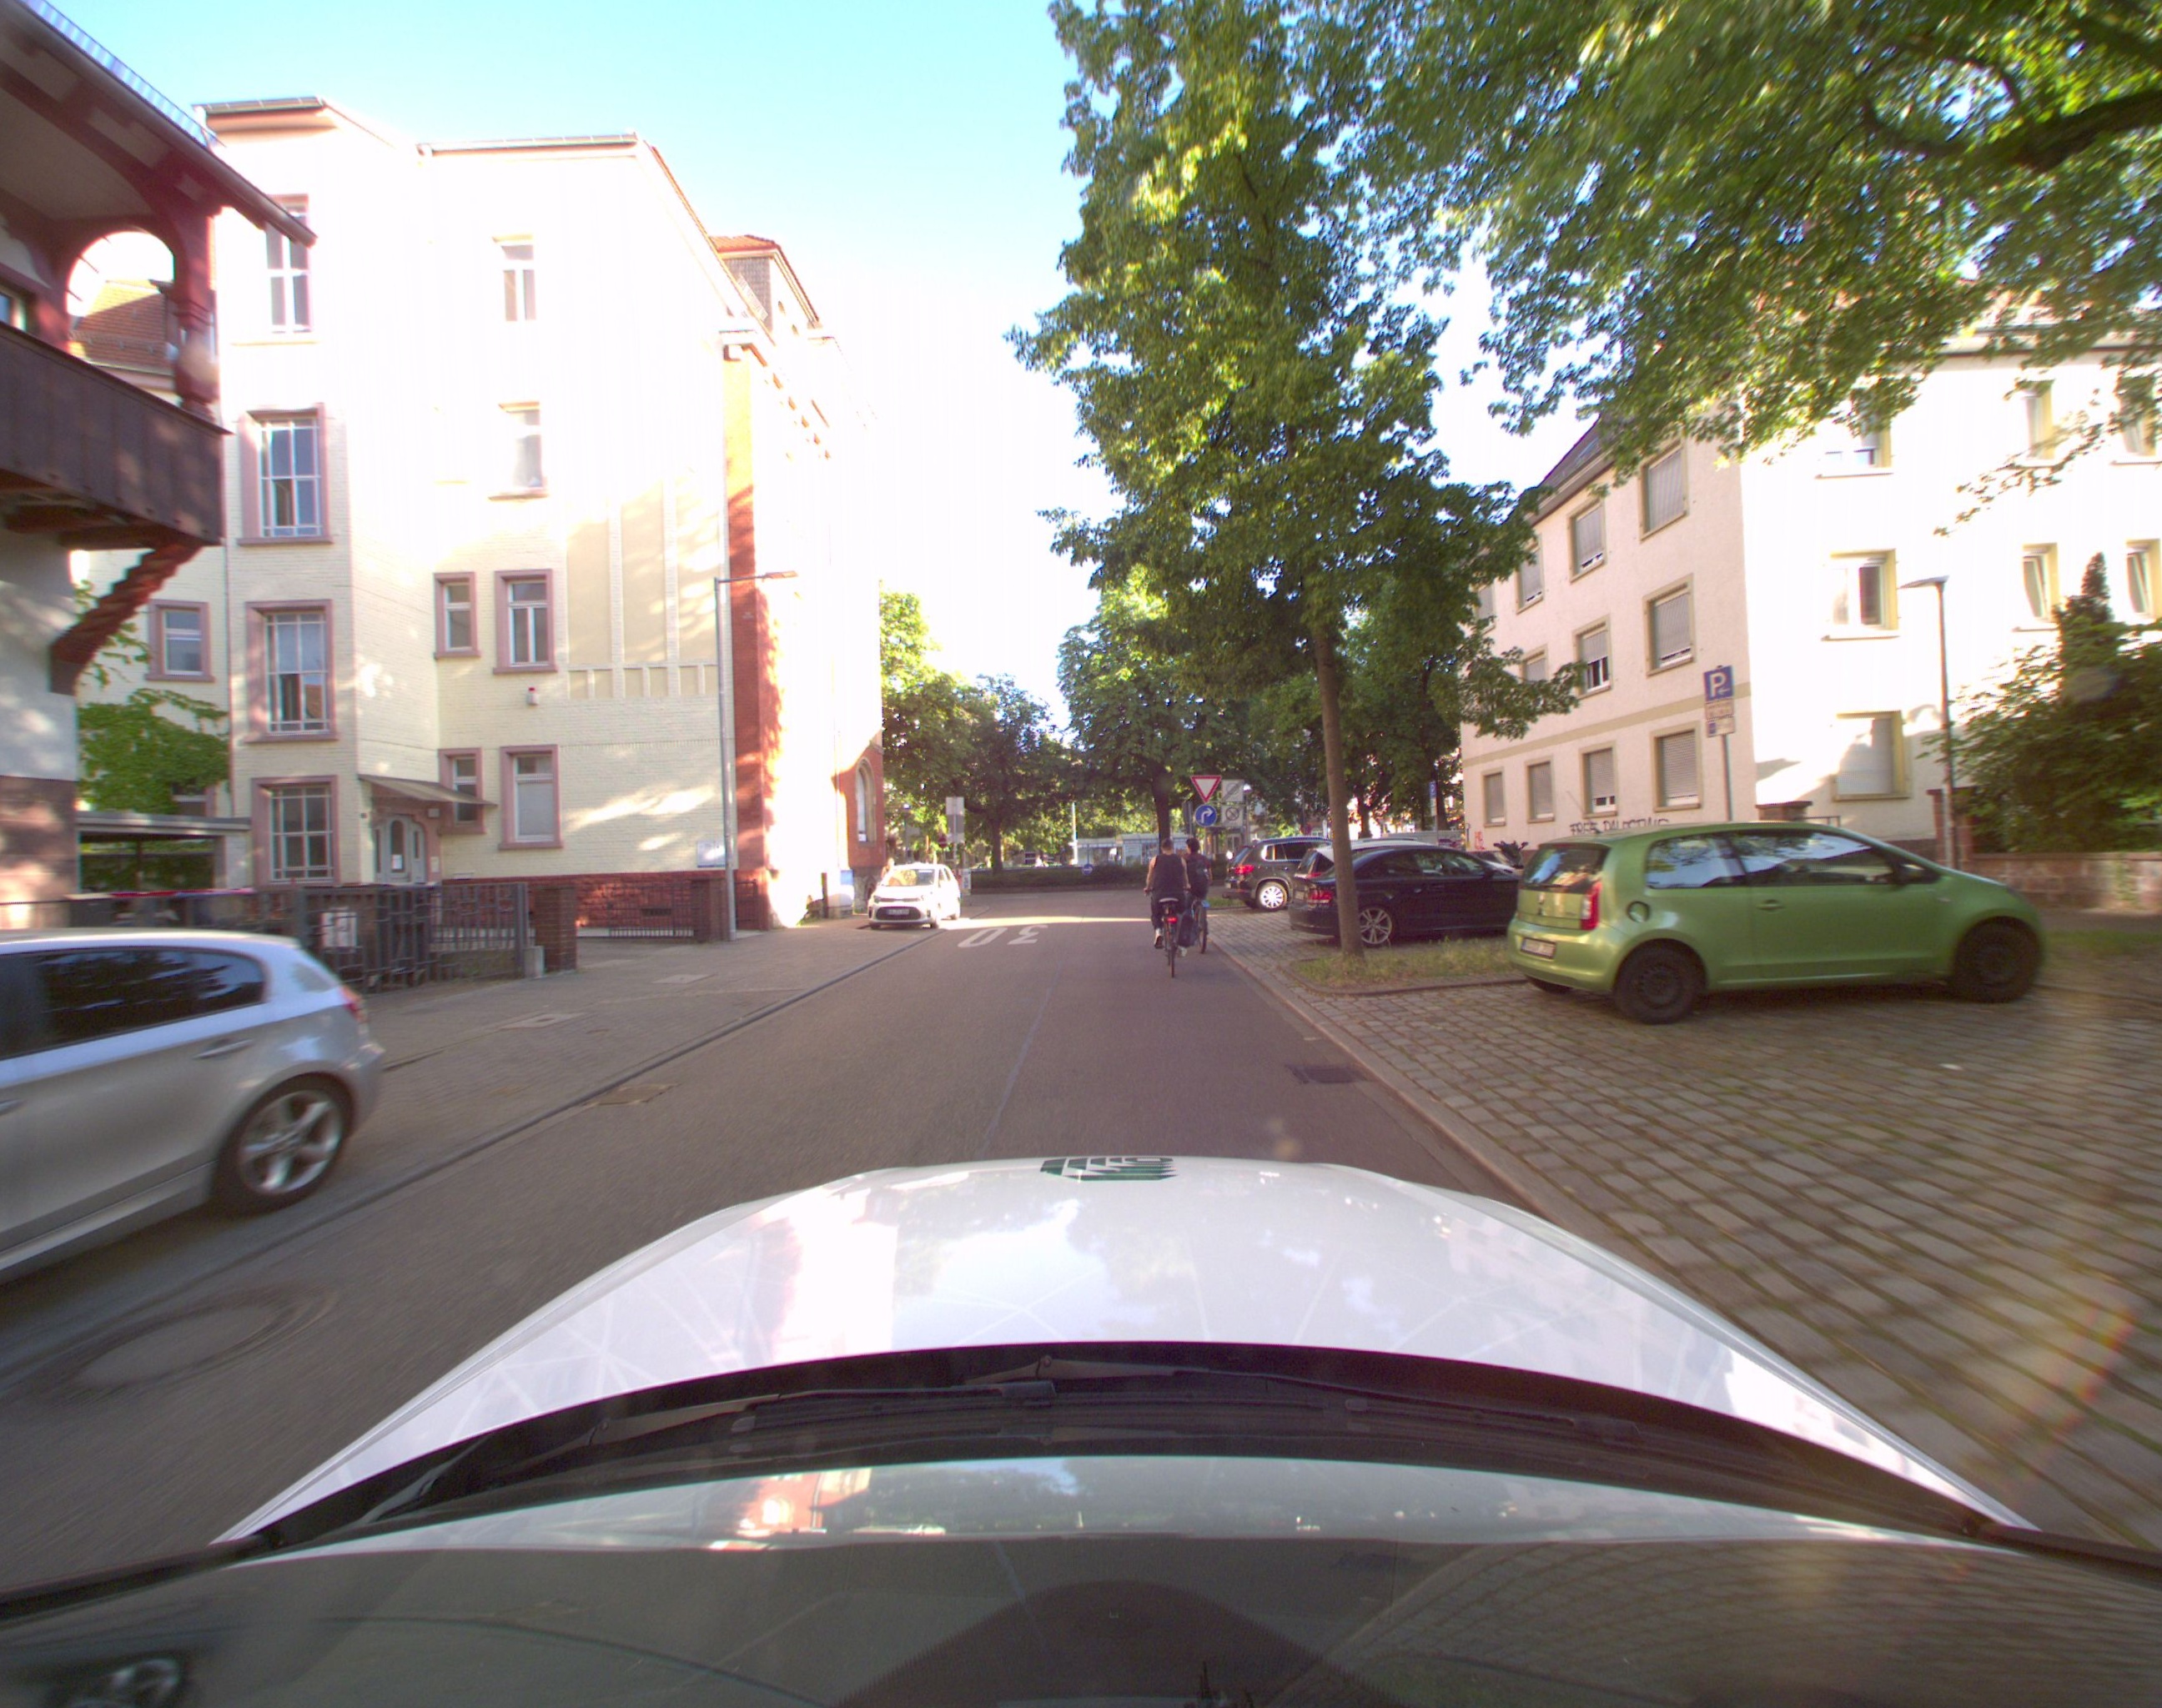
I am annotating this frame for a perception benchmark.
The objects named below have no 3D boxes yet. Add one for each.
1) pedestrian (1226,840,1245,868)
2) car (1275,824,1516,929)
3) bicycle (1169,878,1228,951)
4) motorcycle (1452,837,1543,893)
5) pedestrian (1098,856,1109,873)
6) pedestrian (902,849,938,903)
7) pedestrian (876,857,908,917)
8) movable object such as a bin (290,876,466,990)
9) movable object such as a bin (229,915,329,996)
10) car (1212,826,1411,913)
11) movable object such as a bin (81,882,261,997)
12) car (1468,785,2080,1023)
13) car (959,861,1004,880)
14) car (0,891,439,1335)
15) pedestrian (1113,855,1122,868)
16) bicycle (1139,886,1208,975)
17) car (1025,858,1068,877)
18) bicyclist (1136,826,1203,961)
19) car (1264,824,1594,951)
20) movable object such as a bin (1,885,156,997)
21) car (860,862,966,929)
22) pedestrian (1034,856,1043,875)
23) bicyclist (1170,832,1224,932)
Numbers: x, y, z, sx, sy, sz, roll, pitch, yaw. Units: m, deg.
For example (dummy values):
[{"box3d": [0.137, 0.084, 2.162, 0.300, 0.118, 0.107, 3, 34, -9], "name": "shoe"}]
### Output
[{"box3d": [9.843, -0.004, 51.839, 0.887, 1.684, 0.825, -3, -1, 35], "name": "pedestrian"}, {"box3d": [5.529, 0.393, 14.701, 3.675, 1.651, 1.706, -2, 0, 5], "name": "car"}, {"box3d": [1.872, 0.935, 13.213, 0.671, 1.054, 2.061, -2, -2, 1], "name": "bicycle"}, {"box3d": [10.478, 0.269, 20.609, 0.974, 1.280, 2.177, -3, 0, -7], "name": "motorcycle"}, {"box3d": [2.113, 0.977, 76.419, 0.809, 1.543, 0.818, 0, -1, -10], "name": "pedestrian"}, {"box3d": [-5.065, 0.696, 25.685, 0.864, 1.643, 0.861, -2, -1, 1], "name": "pedestrian"}, {"box3d": [-5.242, 0.895, 22.584, 0.597, 1.605, 0.855, -2, -1, 1], "name": "pedestrian"}, {"box3d": [-8.630, 0.950, 10.038, 1.367, 1.299, 0.971, -2, 0, 11], "name": "movable object such as a bin"}, {"box3d": [-9.476, 1.186, 9.642, 0.477, 0.879, 0.675, -2, 0, 11], "name": "movable object such as a bin"}, {"box3d": [5.390, 0.340, 19.432, 4.096, 1.712, 2.022, -3, 0, -3], "name": "car"}, {"box3d": [-11.355, 1.040, 10.201, 1.378, 1.317, 0.686, -2, -1, -6], "name": "movable object such as a bin"}, {"box3d": [5.447, 0.368, 6.793, 3.575, 1.505, 1.679, -4, 0, 2], "name": "car"}, {"box3d": [-9.961, 1.645, 81.705, 3.971, 1.679, 1.931, -2, 0, -42], "name": "car"}, {"box3d": [-4.649, 0.963, 2.715, 1.738, 1.466, 4.102, -2, 0, 0], "name": "car"}, {"box3d": [4.606, 0.968, 103.657, 0.997, 1.630, 1.064, -2, -1, 0], "name": "pedestrian"}, {"box3d": [1.184, 0.957, 10.800, 0.735, 1.012, 2.062, 0, -1, 2], "name": "bicycle"}, {"box3d": [-3.665, 1.435, 85.718, 4.005, 1.870, 1.984, -2, 0, -24], "name": "car"}, {"box3d": [1.149, 0.501, 10.764, 0.749, 1.682, 0.913, -2, -1, 1], "name": "bicyclist"}, {"box3d": [4.995, 0.474, 12.136, 4.089, 1.411, 1.793, -5, -1, 1], "name": "car"}, {"box3d": [-12.630, 1.076, 10.279, 1.196, 1.310, 0.631, -2, -1, 3], "name": "movable object such as a bin"}, {"box3d": [-4.008, 0.949, 20.076, 1.698, 1.485, 3.799, 0, 0, 2], "name": "car"}, {"box3d": [-3.872, 1.058, 73.992, 0.704, 1.695, 0.666, 0, -1, -20], "name": "pedestrian"}, {"box3d": [1.847, 0.436, 13.093, 0.669, 1.514, 1.069, -2, -2, 1], "name": "bicyclist"}]
